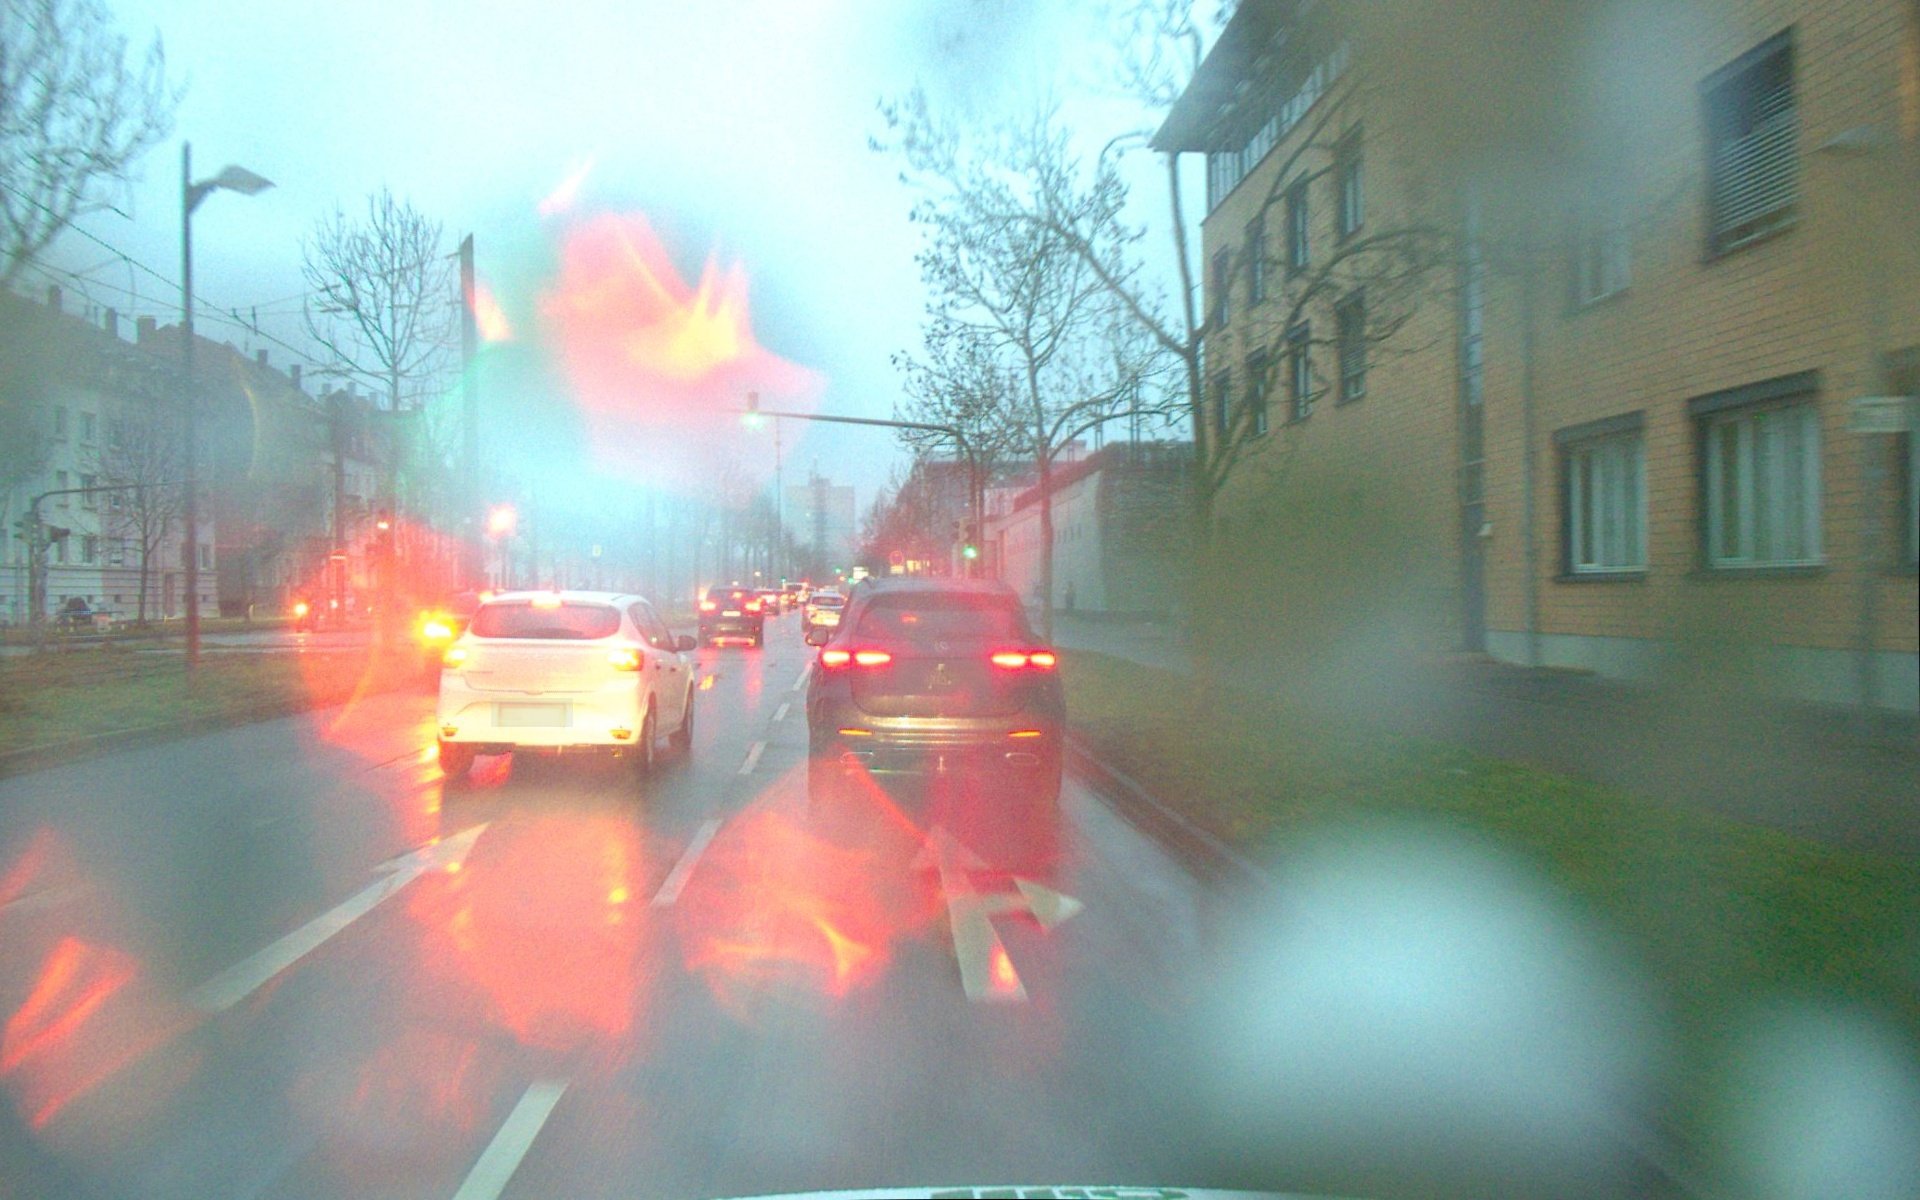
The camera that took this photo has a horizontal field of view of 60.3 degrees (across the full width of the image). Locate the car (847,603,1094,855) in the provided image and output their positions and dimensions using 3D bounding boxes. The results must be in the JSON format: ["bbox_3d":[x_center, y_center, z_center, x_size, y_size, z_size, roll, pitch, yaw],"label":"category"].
[{"bbox_3d":[-0.039,0.860,13.037,1.639,1.628,4.051,0,0,-3],"label":"car"}]

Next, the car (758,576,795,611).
[{"bbox_3d":[-11.220,-0.385,101.182,1.953,2.049,3.998,1,0,-3],"label":"car"}]

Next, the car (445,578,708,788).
[{"bbox_3d":[-3.299,0.636,14.933,1.639,1.628,4.051,0,0,-3],"label":"car"}]

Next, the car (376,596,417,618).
[{"bbox_3d":[-38.643,0.484,113.507,1.741,1.377,3.554,-2,1,-4],"label":"car"}]

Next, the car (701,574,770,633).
[{"bbox_3d":[-6.433,0.080,47.709,1.639,1.628,4.051,0,0,-3],"label":"car"}]

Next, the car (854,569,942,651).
[{"bbox_3d":[-1.499,0.213,39.153,1.954,1.774,3.997,-1,0,-3],"label":"car"}]

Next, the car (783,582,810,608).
[{"bbox_3d":[-13.302,-0.423,134.481,1.953,2.049,3.998,-1,0,-3],"label":"car"}]

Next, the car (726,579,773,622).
[{"bbox_3d":[-10.491,0.040,82.610,1.953,2.049,3.998,1,0,-2],"label":"car"}]

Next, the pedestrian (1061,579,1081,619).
[{"bbox_3d":[4.669,-0.045,69.620,0.609,1.638,1.065,-1,0,-8],"label":"pedestrian"}]

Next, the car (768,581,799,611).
[{"bbox_3d":[-12.684,-0.277,118.874,1.953,2.049,3.998,1,0,-3],"label":"car"}]
